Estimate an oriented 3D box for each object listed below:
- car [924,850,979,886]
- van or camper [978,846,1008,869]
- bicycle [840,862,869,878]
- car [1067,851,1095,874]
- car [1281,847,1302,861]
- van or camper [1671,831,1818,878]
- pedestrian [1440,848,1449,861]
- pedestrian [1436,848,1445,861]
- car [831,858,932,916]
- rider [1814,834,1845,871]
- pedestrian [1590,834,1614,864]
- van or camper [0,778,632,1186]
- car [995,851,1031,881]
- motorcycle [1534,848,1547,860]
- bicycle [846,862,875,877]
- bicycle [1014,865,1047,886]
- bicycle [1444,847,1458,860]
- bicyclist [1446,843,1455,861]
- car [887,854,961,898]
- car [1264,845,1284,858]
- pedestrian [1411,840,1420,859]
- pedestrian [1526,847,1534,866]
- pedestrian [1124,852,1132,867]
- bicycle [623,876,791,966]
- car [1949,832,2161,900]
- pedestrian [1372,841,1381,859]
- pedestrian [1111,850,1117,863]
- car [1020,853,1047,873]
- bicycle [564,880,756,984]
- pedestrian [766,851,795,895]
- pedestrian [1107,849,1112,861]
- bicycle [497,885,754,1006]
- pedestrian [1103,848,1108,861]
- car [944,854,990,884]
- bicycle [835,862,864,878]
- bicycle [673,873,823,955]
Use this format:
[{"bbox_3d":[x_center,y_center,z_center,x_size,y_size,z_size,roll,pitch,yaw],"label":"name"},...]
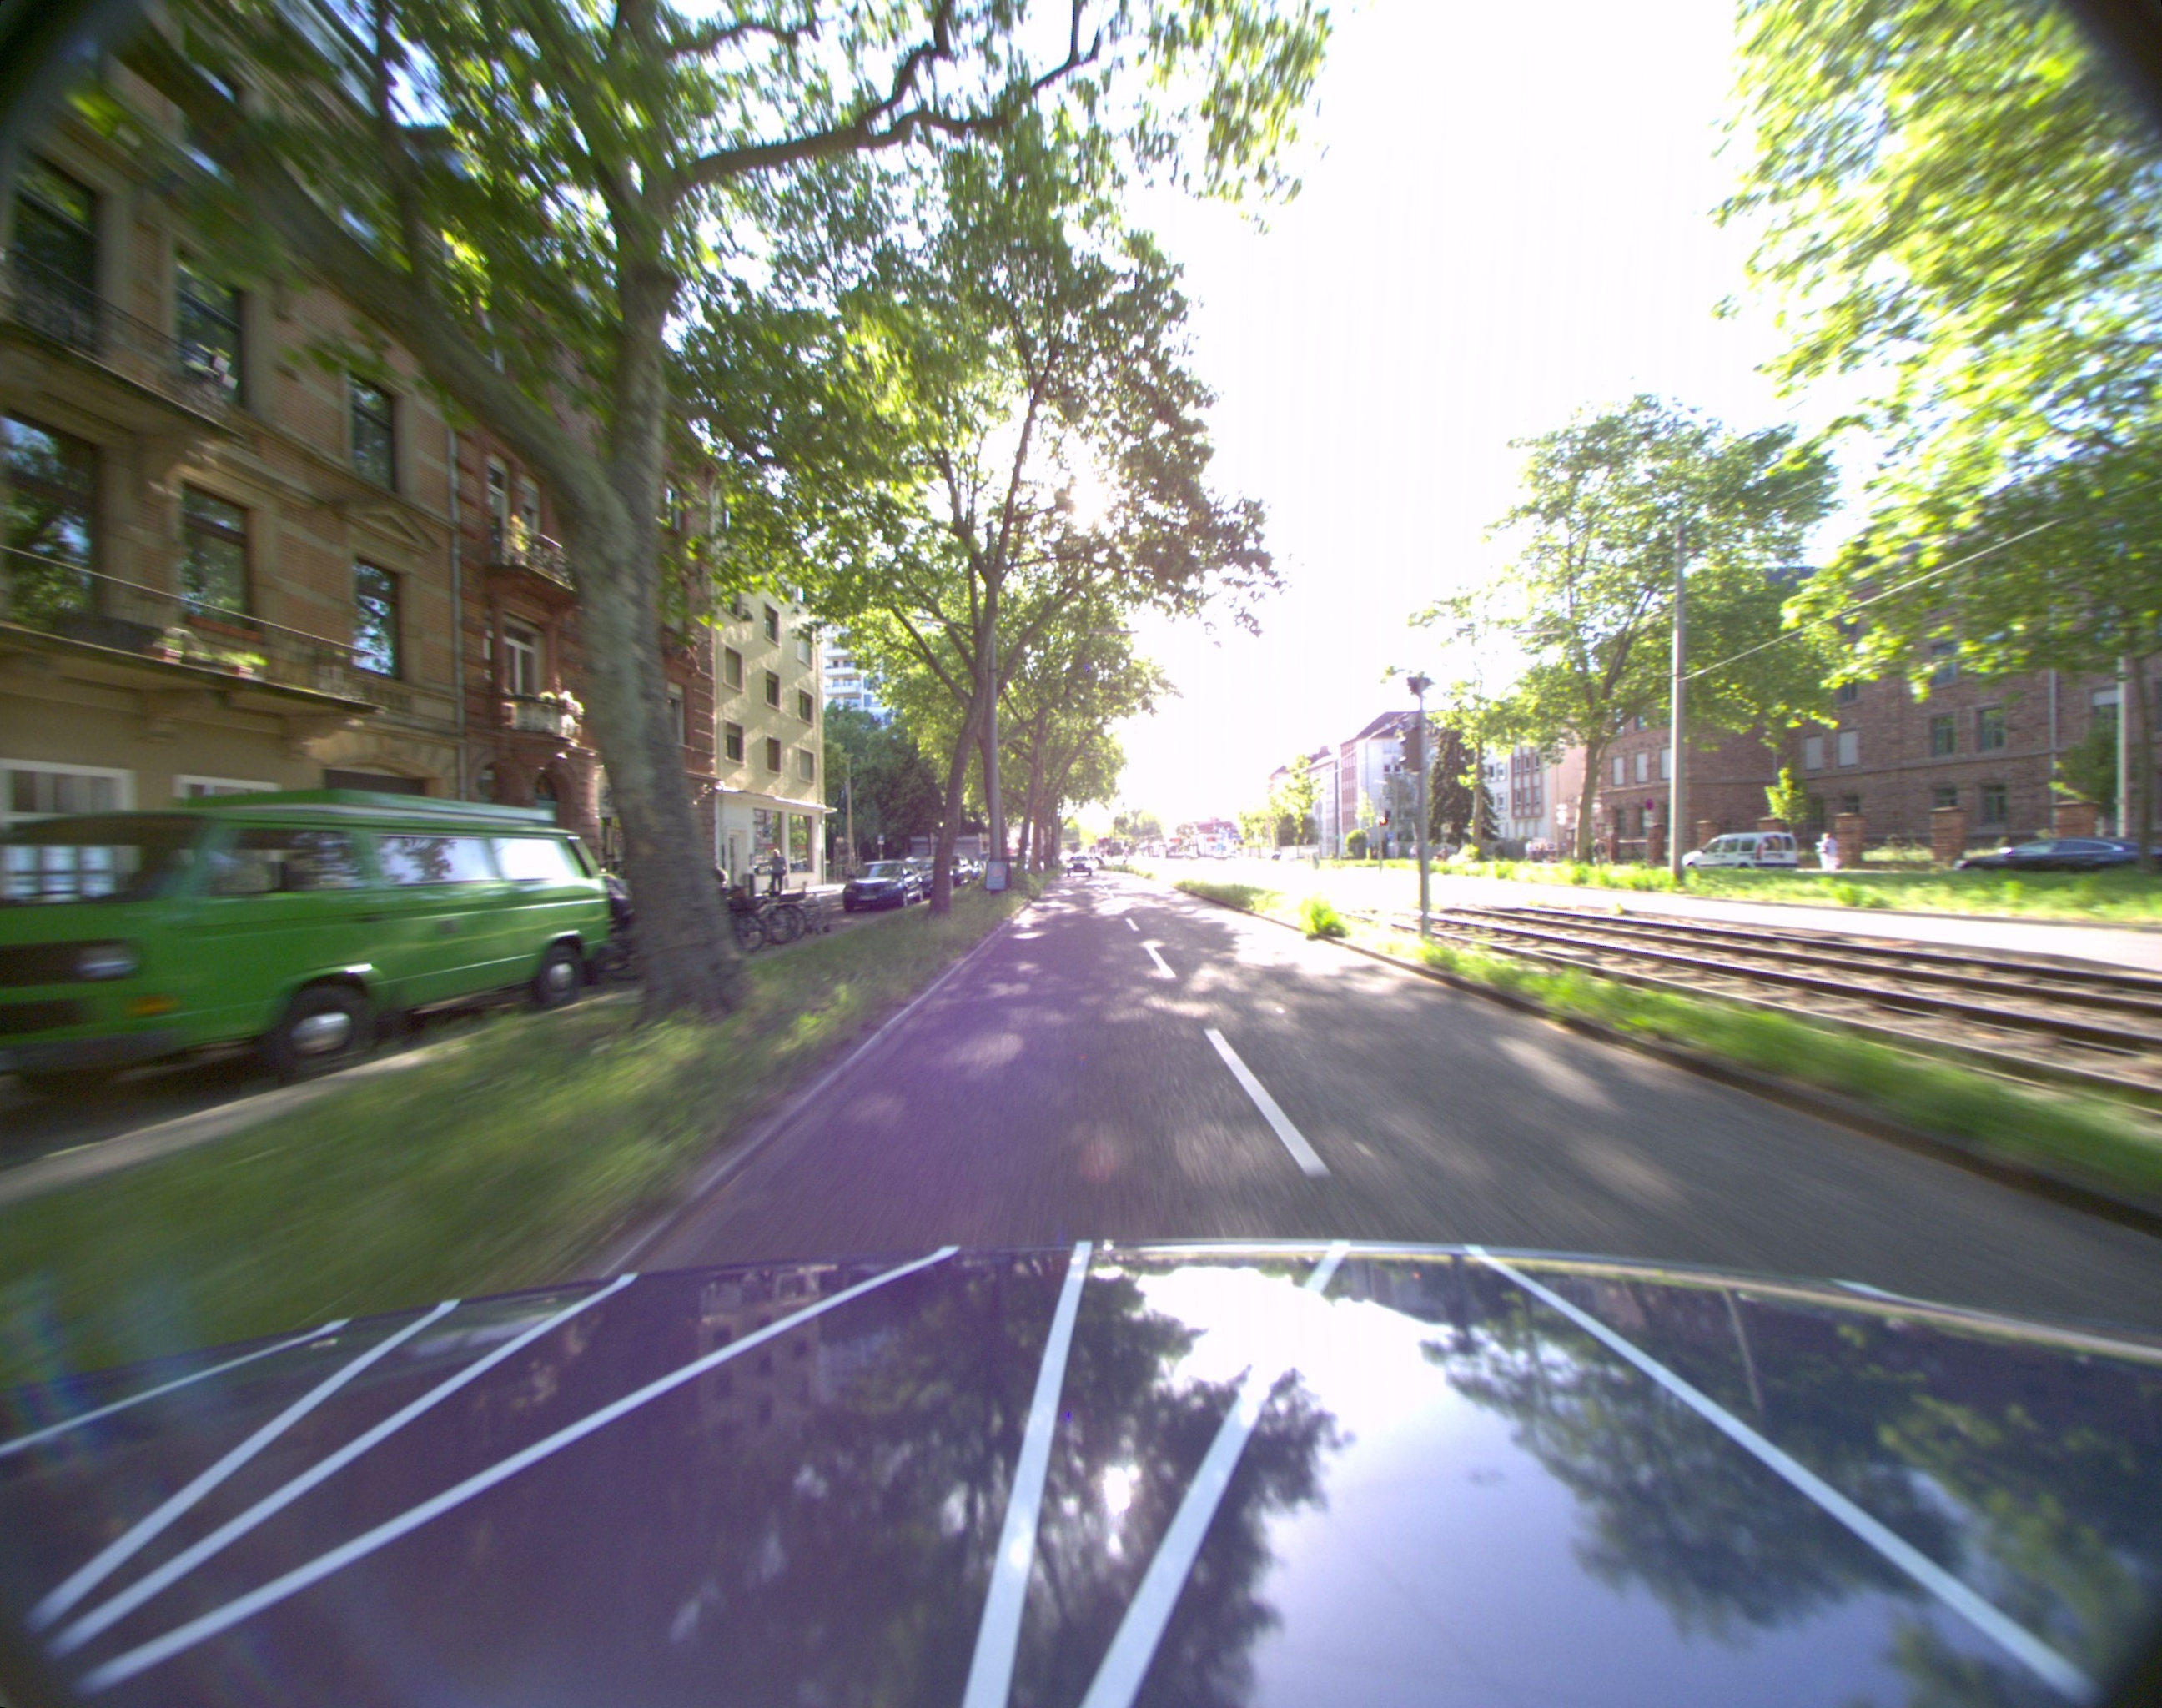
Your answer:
[{"bbox_3d":[-5.813,0.625,34.478,1.699,1.521,4.261,-1,-1,0],"label":"car"},{"bbox_3d":[-9.029,0.333,78.486,2.297,2.273,5.822,-2,1,0],"label":"van or camper"},{"bbox_3d":[-16.098,1.123,54.088,2.140,1.097,0.509,-1,1,25],"label":"bicycle"},{"bbox_3d":[0.075,0.612,59.247,1.979,1.660,4.620,-2,0,2],"label":"car"},{"bbox_3d":[26.136,-0.037,94.274,1.769,1.613,4.477,-1,0,6],"label":"car"},{"bbox_3d":[26.721,0.003,30.850,1.999,1.777,4.431,-1,0,-2],"label":"van or camper"},{"bbox_3d":[31.136,0.038,65.037,0.445,1.093,0.587,-1,1,-5],"label":"pedestrian"},{"bbox_3d":[31.056,0.027,65.631,0.587,1.093,0.478,-1,1,-1],"label":"pedestrian"},{"bbox_3d":[-5.902,0.929,23.067,1.838,1.399,4.192,-4,1,0],"label":"car"},{"bbox_3d":[33.471,-0.063,33.980,0.730,1.635,0.686,-1,1,1],"label":"rider"},{"bbox_3d":[33.449,-0.343,48.761,0.903,1.888,0.942,-1,1,1],"label":"pedestrian"},{"bbox_3d":[-6.099,0.697,6.309,1.838,2.086,4.773,-4,1,-1],"label":"van or camper"},{"bbox_3d":[-4.032,0.674,45.869,1.908,1.626,4.822,-1,0,-3],"label":"car"},{"bbox_3d":[35.671,-0.029,58.991,0.335,0.941,1.044,-1,1,-4],"label":"motorcycle"},{"bbox_3d":[-15.861,1.108,54.600,2.140,1.097,0.509,-1,1,25],"label":"bicycle"},{"bbox_3d":[-2.616,1.126,39.346,1.597,1.052,0.404,-1,1,7],"label":"bicycle"},{"bbox_3d":[31.223,-0.046,64.116,0.463,1.061,1.175,-1,0,-9],"label":"bicycle"},{"bbox_3d":[31.201,-0.145,64.212,0.455,1.490,0.502,-1,1,-9],"label":"bicyclist"},{"bbox_3d":[-5.790,0.793,28.552,1.699,1.498,4.582,-1,-1,1],"label":"car"},{"bbox_3d":[26.805,-0.382,105.508,1.998,1.697,4.150,-1,0,4],"label":"car"},{"bbox_3d":[33.381,-0.427,75.823,0.694,1.826,0.573,-1,1,-1],"label":"pedestrian"},{"bbox_3d":[40.357,0.229,68.298,0.376,1.686,0.449,-1,1,6],"label":"pedestrian"},{"bbox_3d":[5.757,0.683,93.091,0.955,1.726,0.730,-1,1,3],"label":"pedestrian"},{"bbox_3d":[-6.000,1.061,12.287,2.169,1.287,0.983,-2,1,0],"label":"bicycle"},{"bbox_3d":[26.957,0.274,20.311,1.998,1.640,4.827,-1,0,1],"label":"car"},{"bbox_3d":[33.208,-0.448,85.483,0.664,2.002,0.860,-1,1,-1],"label":"pedestrian"},{"bbox_3d":[4.537,0.318,103.680,0.714,1.670,0.772,-2,1,-1],"label":"pedestrian"},{"bbox_3d":[-3.639,0.691,59.288,1.758,1.390,5.025,-2,0,0],"label":"car"},{"bbox_3d":[-6.009,1.084,11.000,2.171,1.287,0.982,-2,1,-10],"label":"bicycle"},{"bbox_3d":[-11.624,0.732,29.405,0.797,1.694,0.724,-1,1,0],"label":"pedestrian"},{"bbox_3d":[4.267,0.095,112.168,0.683,1.773,0.754,-2,1,1],"label":"pedestrian"},{"bbox_3d":[-5.663,1.107,9.623,2.556,1.287,0.974,-2,1,-6],"label":"bicycle"},{"bbox_3d":[3.592,0.083,113.439,0.669,2.002,0.716,-2,1,1],"label":"pedestrian"},{"bbox_3d":[-5.854,0.739,39.388,1.719,1.443,4.261,-1,-1,0],"label":"car"},{"bbox_3d":[-16.323,1.149,53.614,2.140,1.097,0.473,-1,1,25],"label":"bicycle"},{"bbox_3d":[-5.840,1.042,13.436,2.169,1.287,0.983,-2,1,2],"label":"bicycle"}]
